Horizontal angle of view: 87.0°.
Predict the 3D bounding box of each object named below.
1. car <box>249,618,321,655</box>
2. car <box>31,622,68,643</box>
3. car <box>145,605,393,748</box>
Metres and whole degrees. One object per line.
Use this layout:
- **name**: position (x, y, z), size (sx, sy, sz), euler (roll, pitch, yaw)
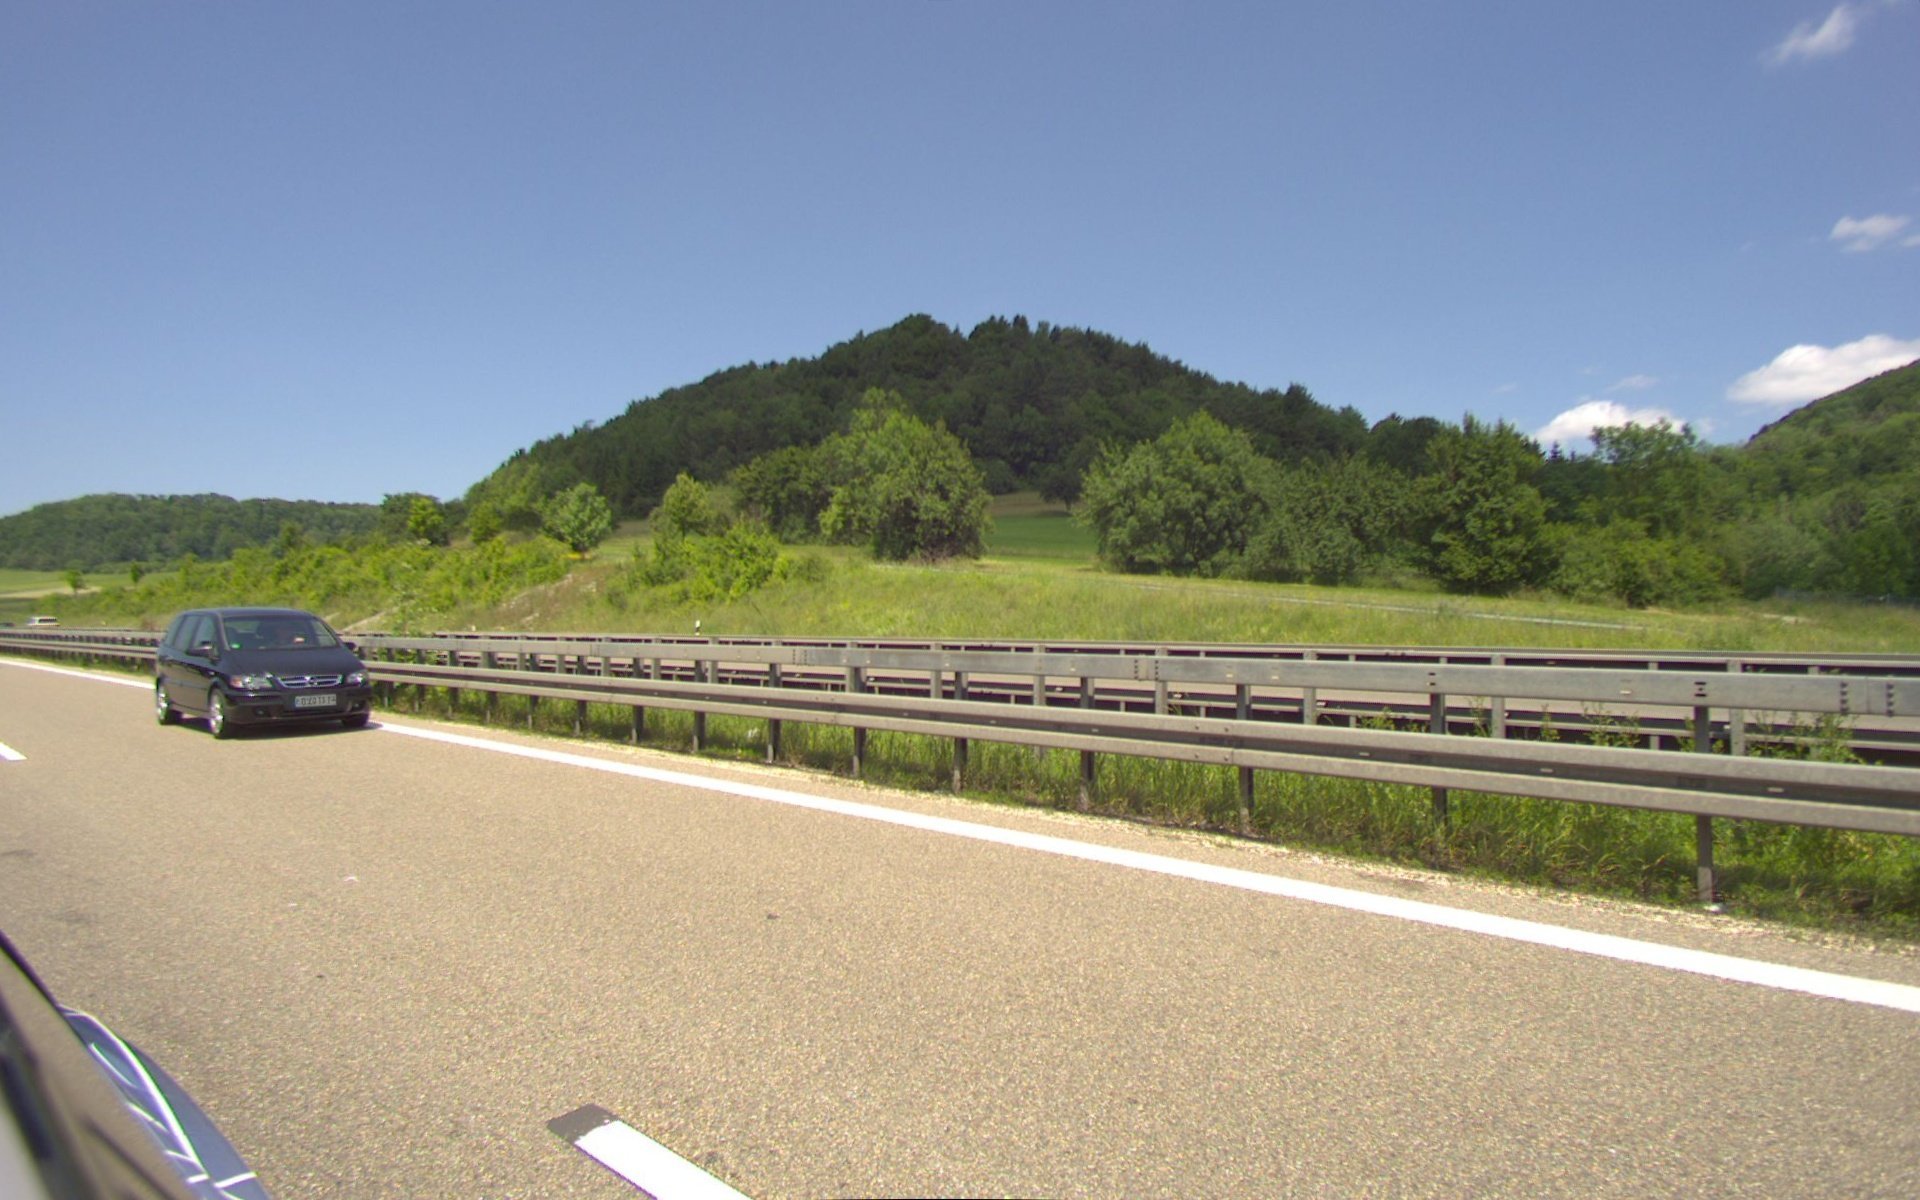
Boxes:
- **car**: position (-31.773, 1.703, 47.602), size (4.076, 1.622, 1.830), euler (-1, -1, 41)
- **car**: position (-87.874, 3.118, 97.624), size (4.657, 1.956, 2.039), euler (-1, -1, 40)
- **car**: position (-9.534, 0.933, 13.827), size (4.444, 1.647, 1.782), euler (-1, -1, 42)
